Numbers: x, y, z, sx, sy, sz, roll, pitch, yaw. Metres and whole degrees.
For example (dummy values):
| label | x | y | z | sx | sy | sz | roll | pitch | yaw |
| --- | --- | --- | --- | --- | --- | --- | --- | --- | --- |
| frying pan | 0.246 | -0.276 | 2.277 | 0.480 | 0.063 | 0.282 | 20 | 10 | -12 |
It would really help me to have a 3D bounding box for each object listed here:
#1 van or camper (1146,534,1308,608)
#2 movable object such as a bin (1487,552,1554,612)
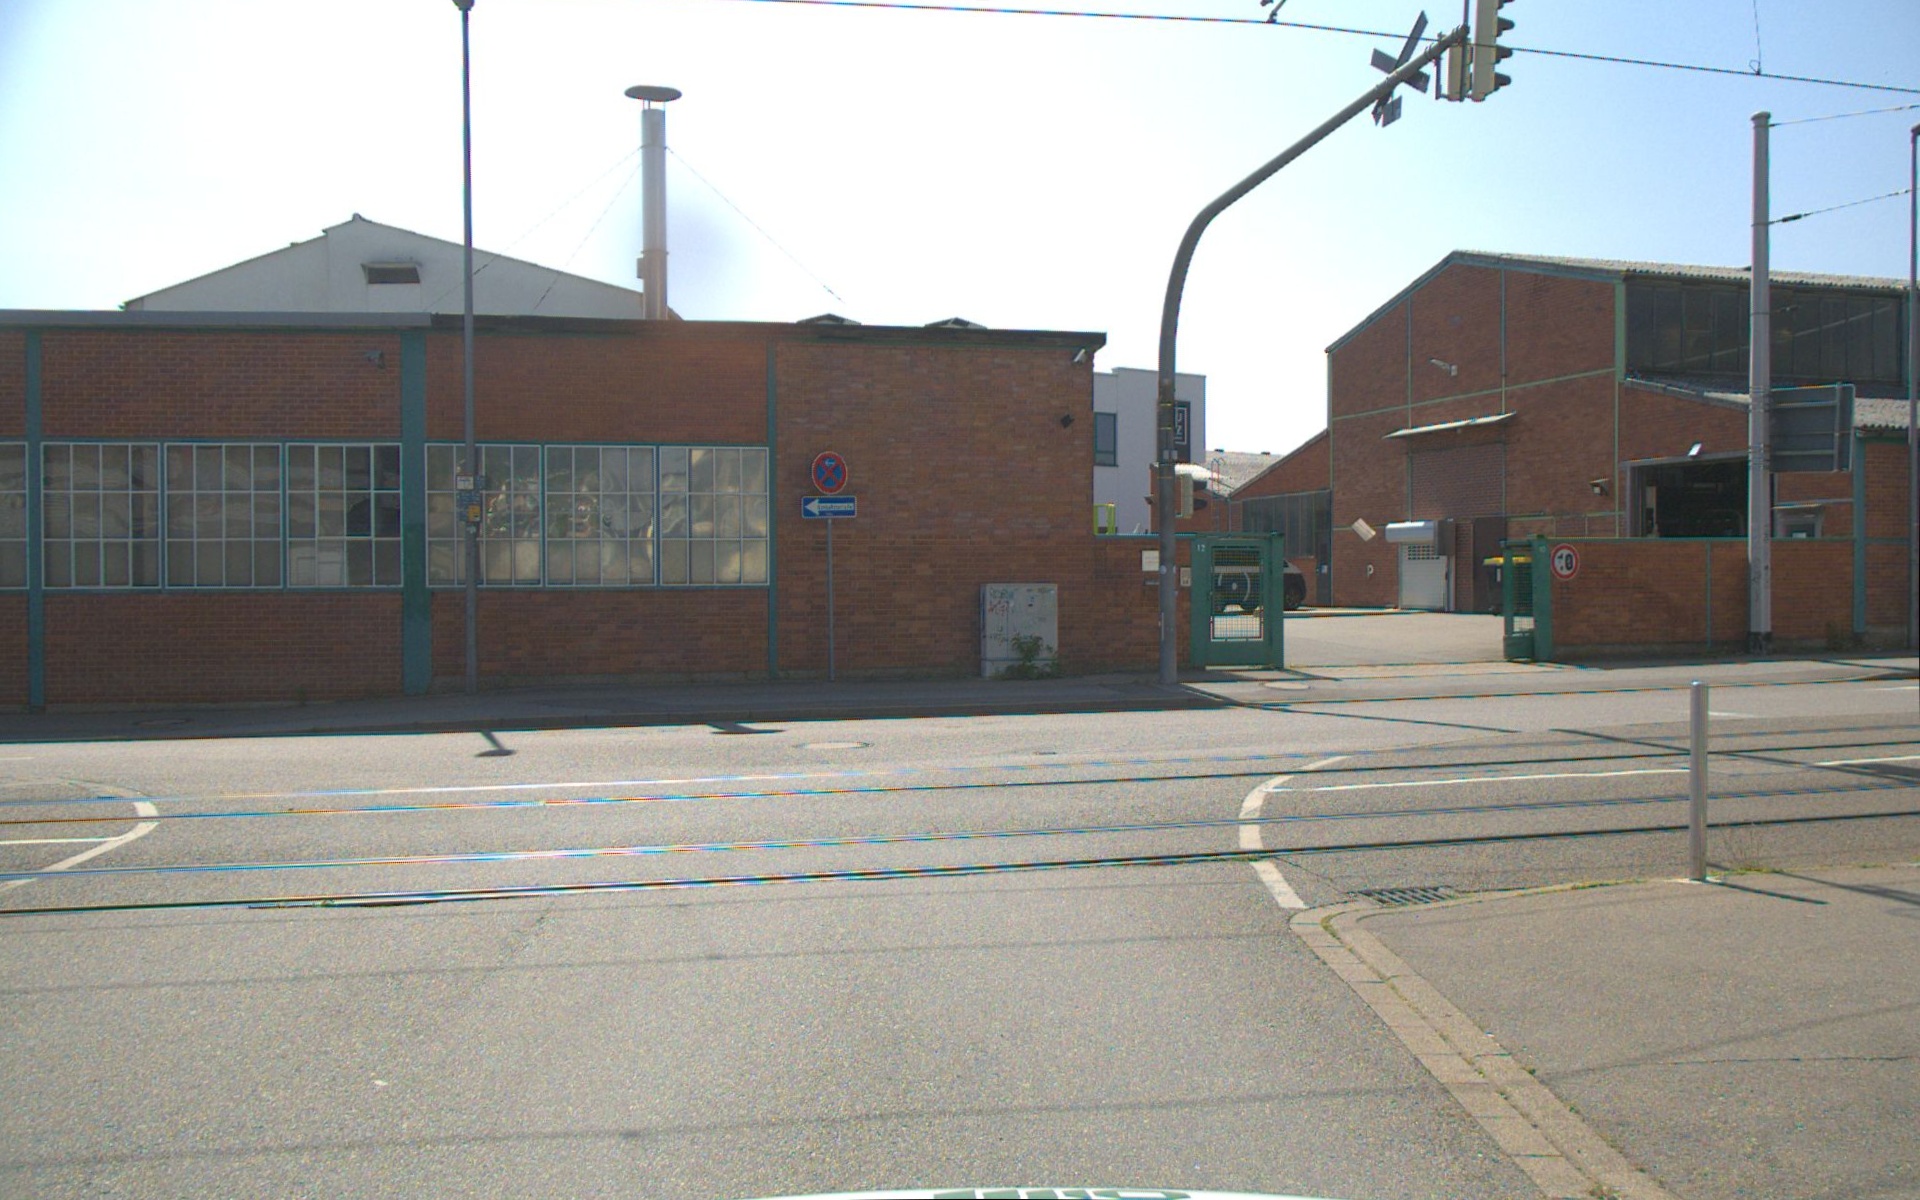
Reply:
| label | x | y | z | sx | sy | sz | roll | pitch | yaw |
| --- | --- | --- | --- | --- | --- | --- | --- | --- | --- |
| van or camper | 7.462 | -0.784 | 45.983 | 4.373 | 1.933 | 1.974 | 1 | 0 | -37 |
| movable object such as a bin | 12.986 | -0.431 | 38.340 | 0.959 | 1.337 | 1.147 | -2 | 1 | -17 |
